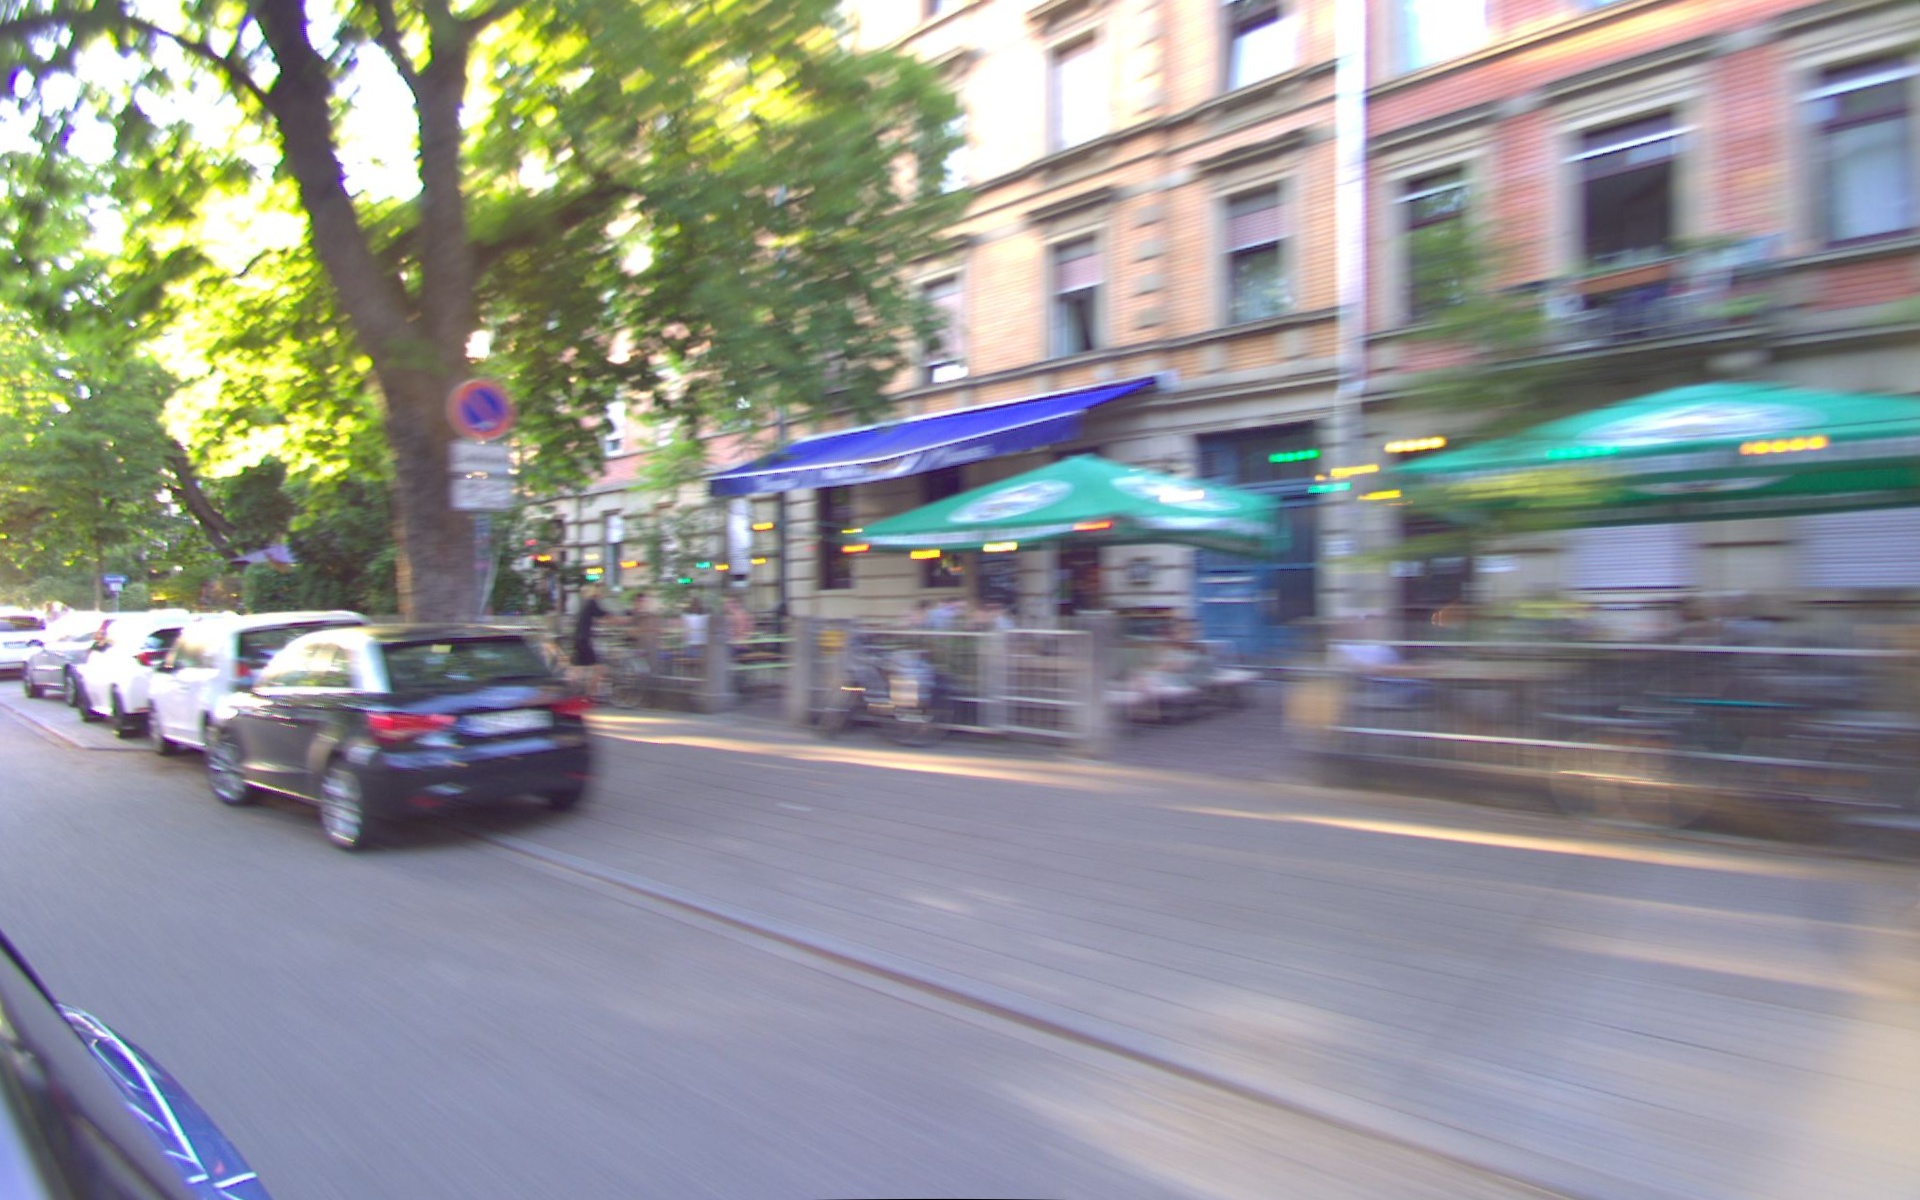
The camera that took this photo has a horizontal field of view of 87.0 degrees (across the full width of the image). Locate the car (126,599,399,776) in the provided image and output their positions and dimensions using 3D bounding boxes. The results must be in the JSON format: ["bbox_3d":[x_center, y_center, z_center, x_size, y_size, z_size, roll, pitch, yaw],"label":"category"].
[{"bbox_3d":[-7.508,0.807,10.763,3.693,1.496,1.535,-1,2,42],"label":"car"}]

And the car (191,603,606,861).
[{"bbox_3d":[-4.371,0.811,7.668,3.690,1.497,1.536,-2,-2,40],"label":"car"}]

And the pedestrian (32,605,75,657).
[{"bbox_3d":[-32.470,1.115,36.255,1.000,1.849,0.684,0,-1,15],"label":"pedestrian"}]

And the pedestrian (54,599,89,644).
[{"bbox_3d":[-38.076,0.898,43.356,0.778,1.837,0.916,2,2,30],"label":"pedestrian"}]

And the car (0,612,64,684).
[{"bbox_3d":[-22.008,1.094,23.199,3.707,1.504,1.647,-2,2,40],"label":"car"}]

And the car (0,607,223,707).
[{"bbox_3d":[-14.553,0.911,17.276,4.591,1.422,1.824,-2,1,36],"label":"car"}]

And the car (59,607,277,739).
[{"bbox_3d":[-10.730,0.891,13.620,3.884,1.446,1.587,-2,2,41],"label":"car"}]

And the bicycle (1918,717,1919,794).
[{"bbox_3d":[3.897,0.876,2.841,1.735,0.936,0.411,-2,1,44],"label":"bicycle"}]

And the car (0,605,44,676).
[{"bbox_3d":[-25.136,1.057,26.006,3.841,1.690,1.649,-2,1,38],"label":"car"}]

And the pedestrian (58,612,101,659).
[{"bbox_3d":[-31.300,1.256,35.997,1.043,1.643,0.684,0,-1,15],"label":"pedestrian"}]

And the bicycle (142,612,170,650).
[{"bbox_3d":[-26.439,1.007,33.269,1.747,1.152,0.387,-1,6,44],"label":"bicycle"}]

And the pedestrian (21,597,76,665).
[{"bbox_3d":[-27.840,0.941,30.918,1.002,2.029,0.863,-1,-1,21],"label":"pedestrian"}]
